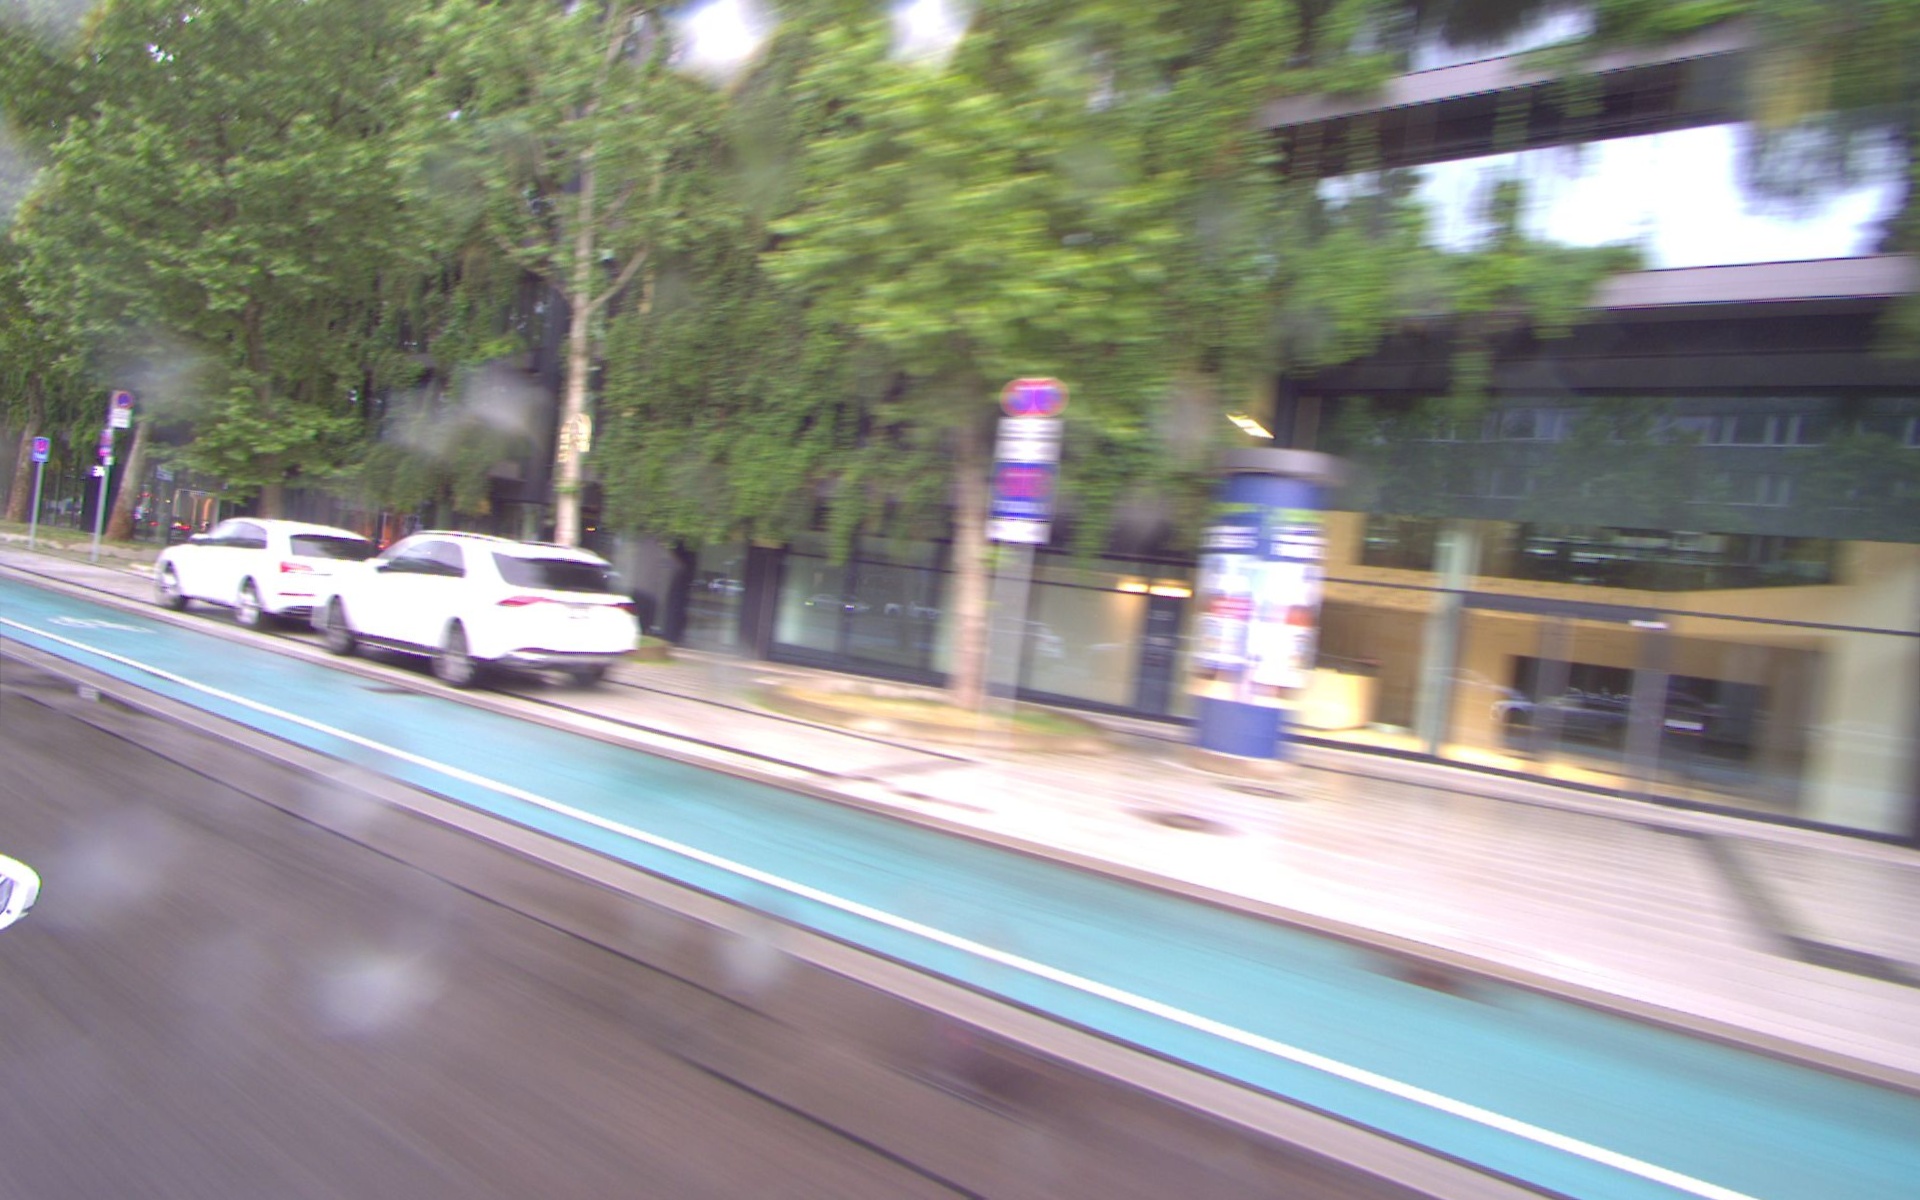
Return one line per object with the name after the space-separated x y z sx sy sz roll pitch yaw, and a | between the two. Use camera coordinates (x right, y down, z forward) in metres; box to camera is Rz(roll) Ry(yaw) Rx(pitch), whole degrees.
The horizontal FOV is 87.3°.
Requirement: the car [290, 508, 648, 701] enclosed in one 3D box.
-6.550 -0.010 13.171 5.012 1.861 1.844 7 0 34 | car

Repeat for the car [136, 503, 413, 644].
-11.279 -0.466 16.469 4.706 1.652 1.847 7 -1 31 | car

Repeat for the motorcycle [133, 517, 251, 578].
-21.687 -1.470 28.463 1.035 1.284 2.313 7 -3 31 | motorcycle
